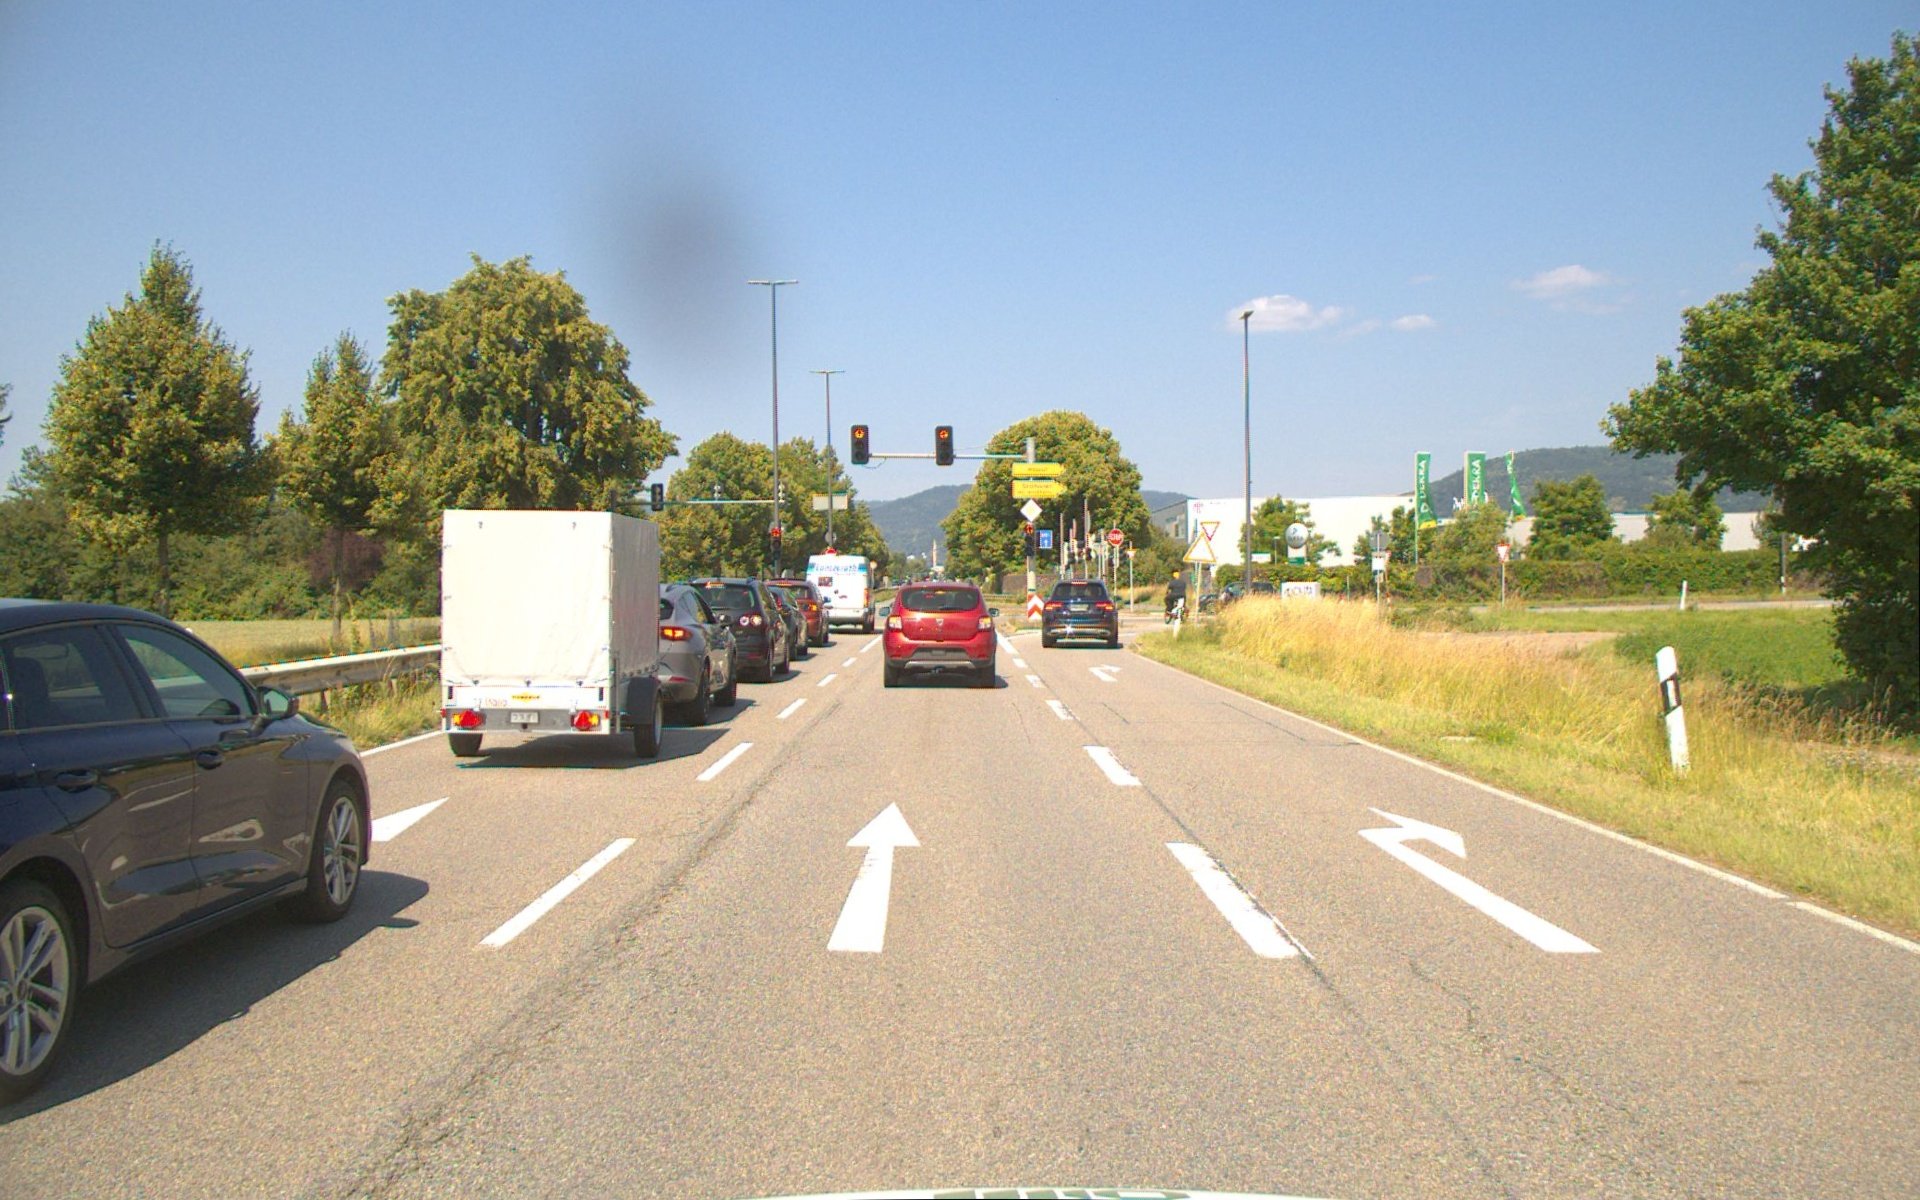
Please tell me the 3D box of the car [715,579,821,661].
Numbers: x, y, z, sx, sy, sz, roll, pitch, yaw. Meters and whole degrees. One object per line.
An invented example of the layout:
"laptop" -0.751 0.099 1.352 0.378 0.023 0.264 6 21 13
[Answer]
"car" -3.856 0.368 33.779 1.667 1.467 3.956 1 2 0

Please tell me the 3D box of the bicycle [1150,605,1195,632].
"bicycle" 7.817 0.682 60.922 0.748 0.931 2.770 -1 1 -13

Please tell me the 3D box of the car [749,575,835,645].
"car" -4.049 0.215 40.448 1.689 1.628 3.955 0 1 0

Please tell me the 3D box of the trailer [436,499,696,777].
"trailer" -3.467 0.283 15.252 1.470 2.211 4.173 0 0 -1

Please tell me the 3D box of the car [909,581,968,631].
"car" -0.625 0.168 51.067 1.713 1.483 3.677 0 1 1

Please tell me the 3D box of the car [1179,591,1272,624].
"car" 11.553 0.318 72.207 3.902 1.350 1.808 -1 0 6

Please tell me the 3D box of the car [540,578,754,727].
"car" -3.490 0.516 19.187 1.710 1.529 4.362 0 1 -1

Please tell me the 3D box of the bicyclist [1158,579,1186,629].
"bicyclist" 7.798 0.140 60.828 0.788 1.802 0.806 -1 1 -13

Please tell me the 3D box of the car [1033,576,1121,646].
"car" 2.846 0.237 41.102 1.952 1.645 4.340 0 1 1

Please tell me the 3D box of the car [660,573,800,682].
"car" -3.611 0.389 26.524 1.688 1.603 3.892 0 0 0

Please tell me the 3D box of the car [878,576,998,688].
"car" -0.289 0.441 25.769 1.713 1.603 3.677 0 1 1

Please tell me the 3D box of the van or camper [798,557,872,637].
"van or camper" -3.779 -0.096 50.822 2.135 2.343 4.824 0 0 -3

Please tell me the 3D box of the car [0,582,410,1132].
"car" -3.472 0.684 5.949 1.682 1.490 4.029 0 1 -1
